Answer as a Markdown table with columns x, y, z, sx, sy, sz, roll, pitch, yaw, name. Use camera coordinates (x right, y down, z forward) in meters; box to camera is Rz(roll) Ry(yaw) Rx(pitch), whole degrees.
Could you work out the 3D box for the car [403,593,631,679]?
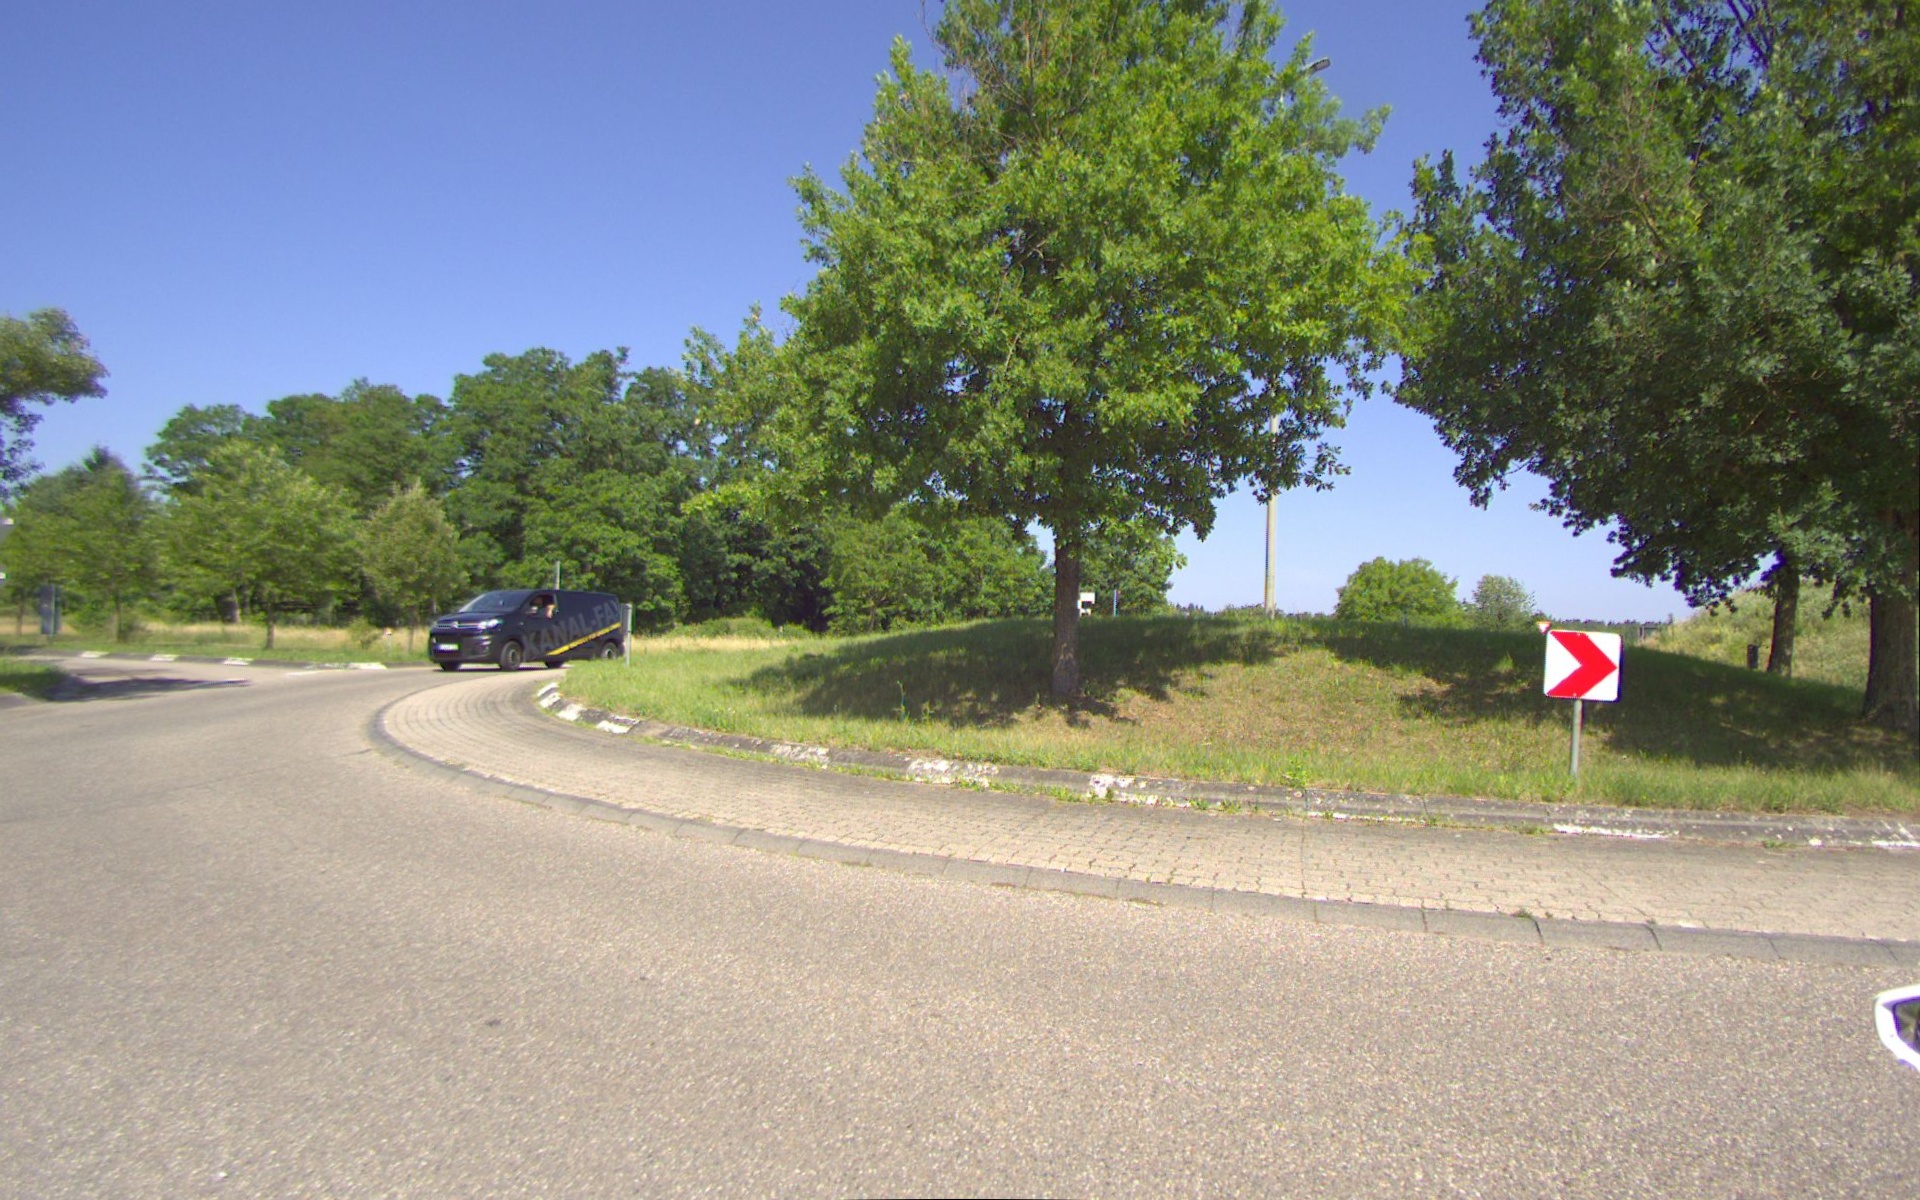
| x | y | z | sx | sy | sz | roll | pitch | yaw | name |
| --- | --- | --- | --- | --- | --- | --- | --- | --- | --- |
| -10.069 | 0.818 | 23.295 | 2.061 | 1.737 | 4.717 | 1 | -2 | 22 | car |
